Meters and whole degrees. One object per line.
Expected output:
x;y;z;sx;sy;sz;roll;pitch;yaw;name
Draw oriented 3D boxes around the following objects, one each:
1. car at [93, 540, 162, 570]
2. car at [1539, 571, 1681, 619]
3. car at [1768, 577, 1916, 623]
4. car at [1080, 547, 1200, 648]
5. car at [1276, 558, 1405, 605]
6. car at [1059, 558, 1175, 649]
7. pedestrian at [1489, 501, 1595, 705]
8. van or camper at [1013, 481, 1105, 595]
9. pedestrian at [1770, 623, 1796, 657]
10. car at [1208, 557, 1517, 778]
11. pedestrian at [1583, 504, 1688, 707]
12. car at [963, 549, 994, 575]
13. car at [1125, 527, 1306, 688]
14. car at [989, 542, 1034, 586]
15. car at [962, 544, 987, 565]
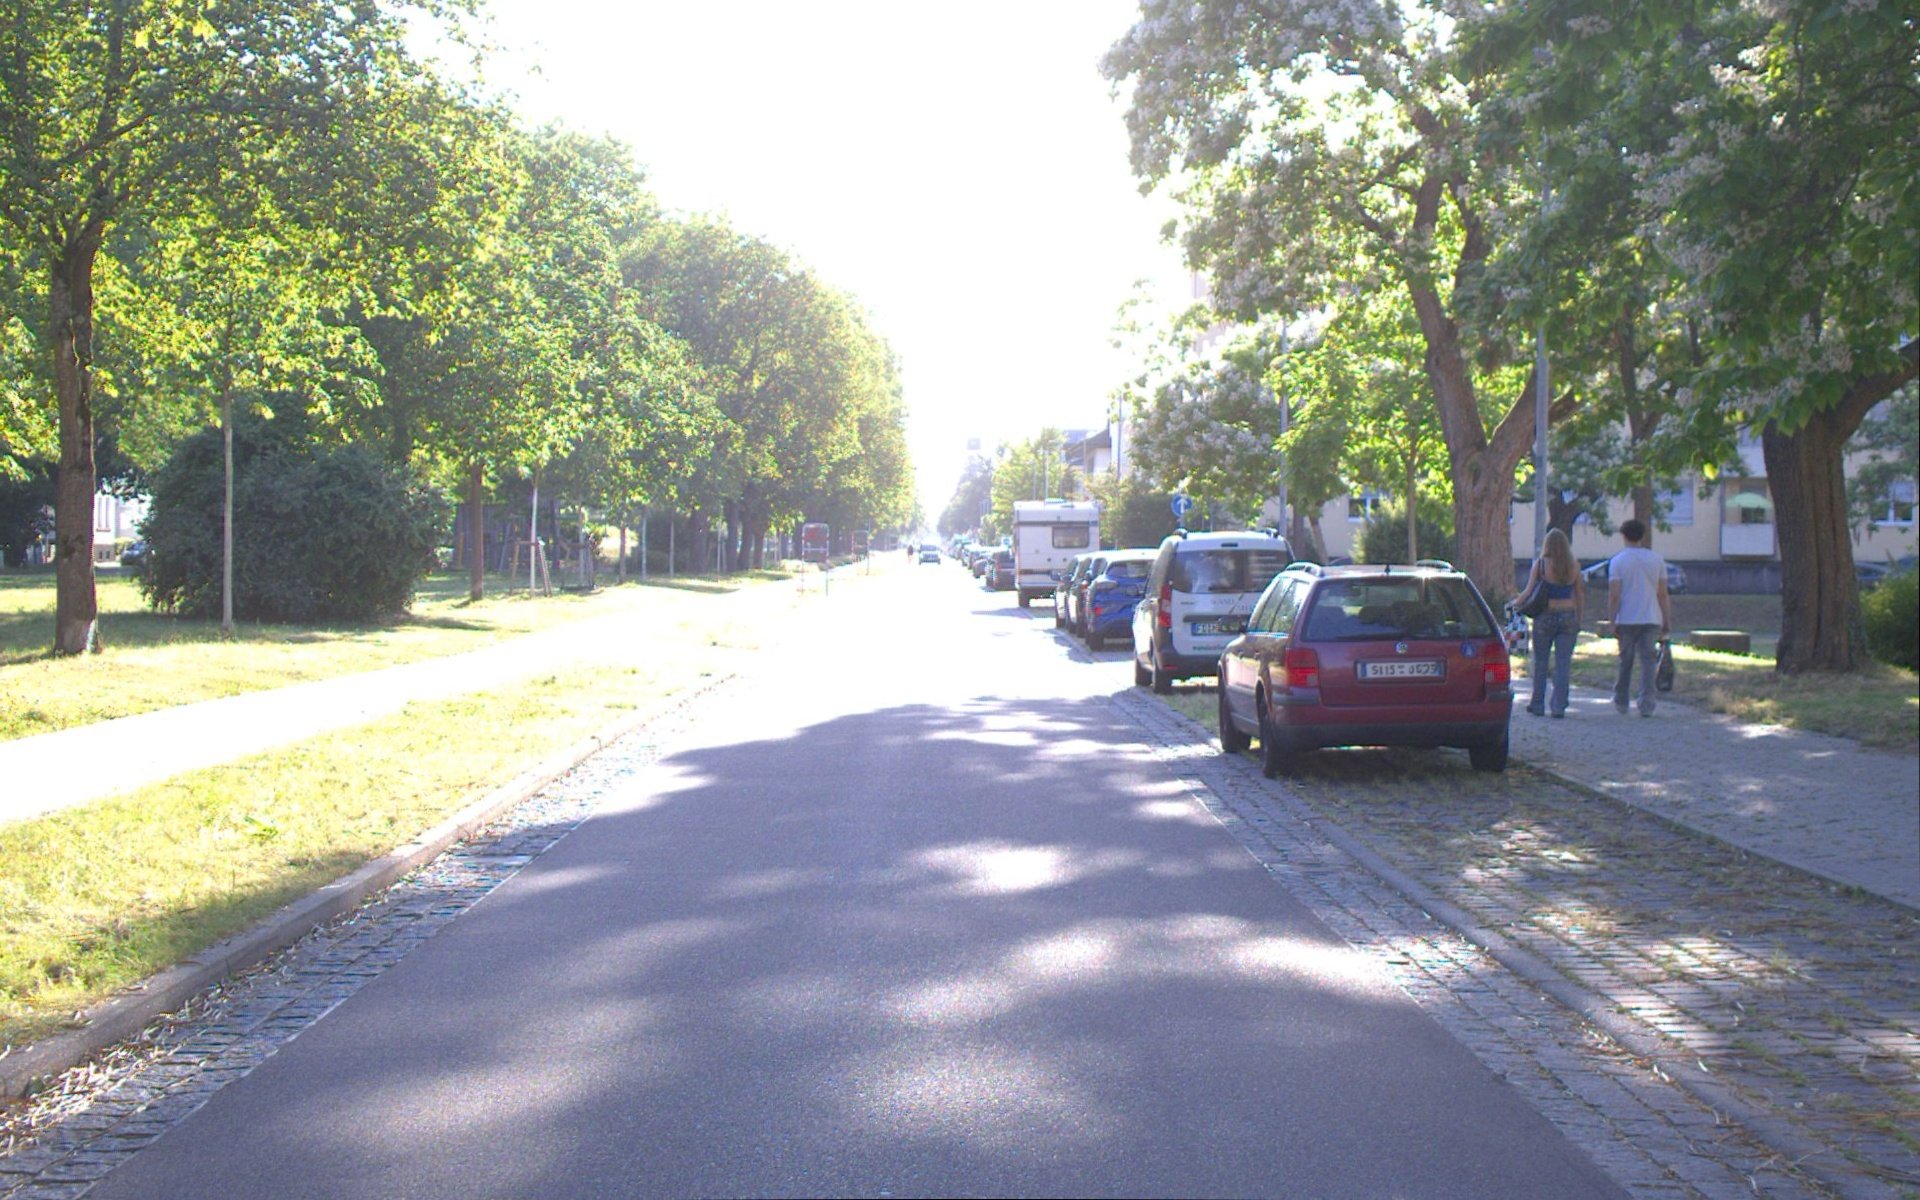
-44.646;-2.405;184.493;2.507;1.503;4.912;0;0;0;car
20.184;-0.152;106.775;4.198;1.458;1.692;0;0;15;car
26.898;-0.005;104.858;4.199;1.353;1.691;0;0;21;car
2.828;-0.047;54.844;1.732;1.545;4.275;0;0;1;car
12.628;-0.606;114.246;4.195;1.525;2.000;0;0;4;car
2.750;0.044;61.096;1.731;1.545;4.423;0;0;-2;car
5.050;0.018;29.876;0.753;1.730;0.732;1;1;0;pedestrian
2.618;-1.608;92.318;2.234;2.894;5.673;0;-1;-1;van or camper
20.139;0.978;84.138;0.472;0.810;0.612;2;1;1;pedestrian
2.890;0.444;25.610;1.678;1.481;4.810;0;0;-1;car
5.865;0.043;29.886;0.725;1.730;0.732;1;1;0;pedestrian
0.986;-2.058;187.461;1.626;1.405;4.249;0;0;-1;car
2.870;0.073;39.422;1.678;1.734;4.514;0;0;-1;car
1.973;-1.389;133.691;1.626;1.663;4.249;0;0;-1;car
0.953;-3.097;234.846;1.626;1.405;4.249;0;0;-1;car
